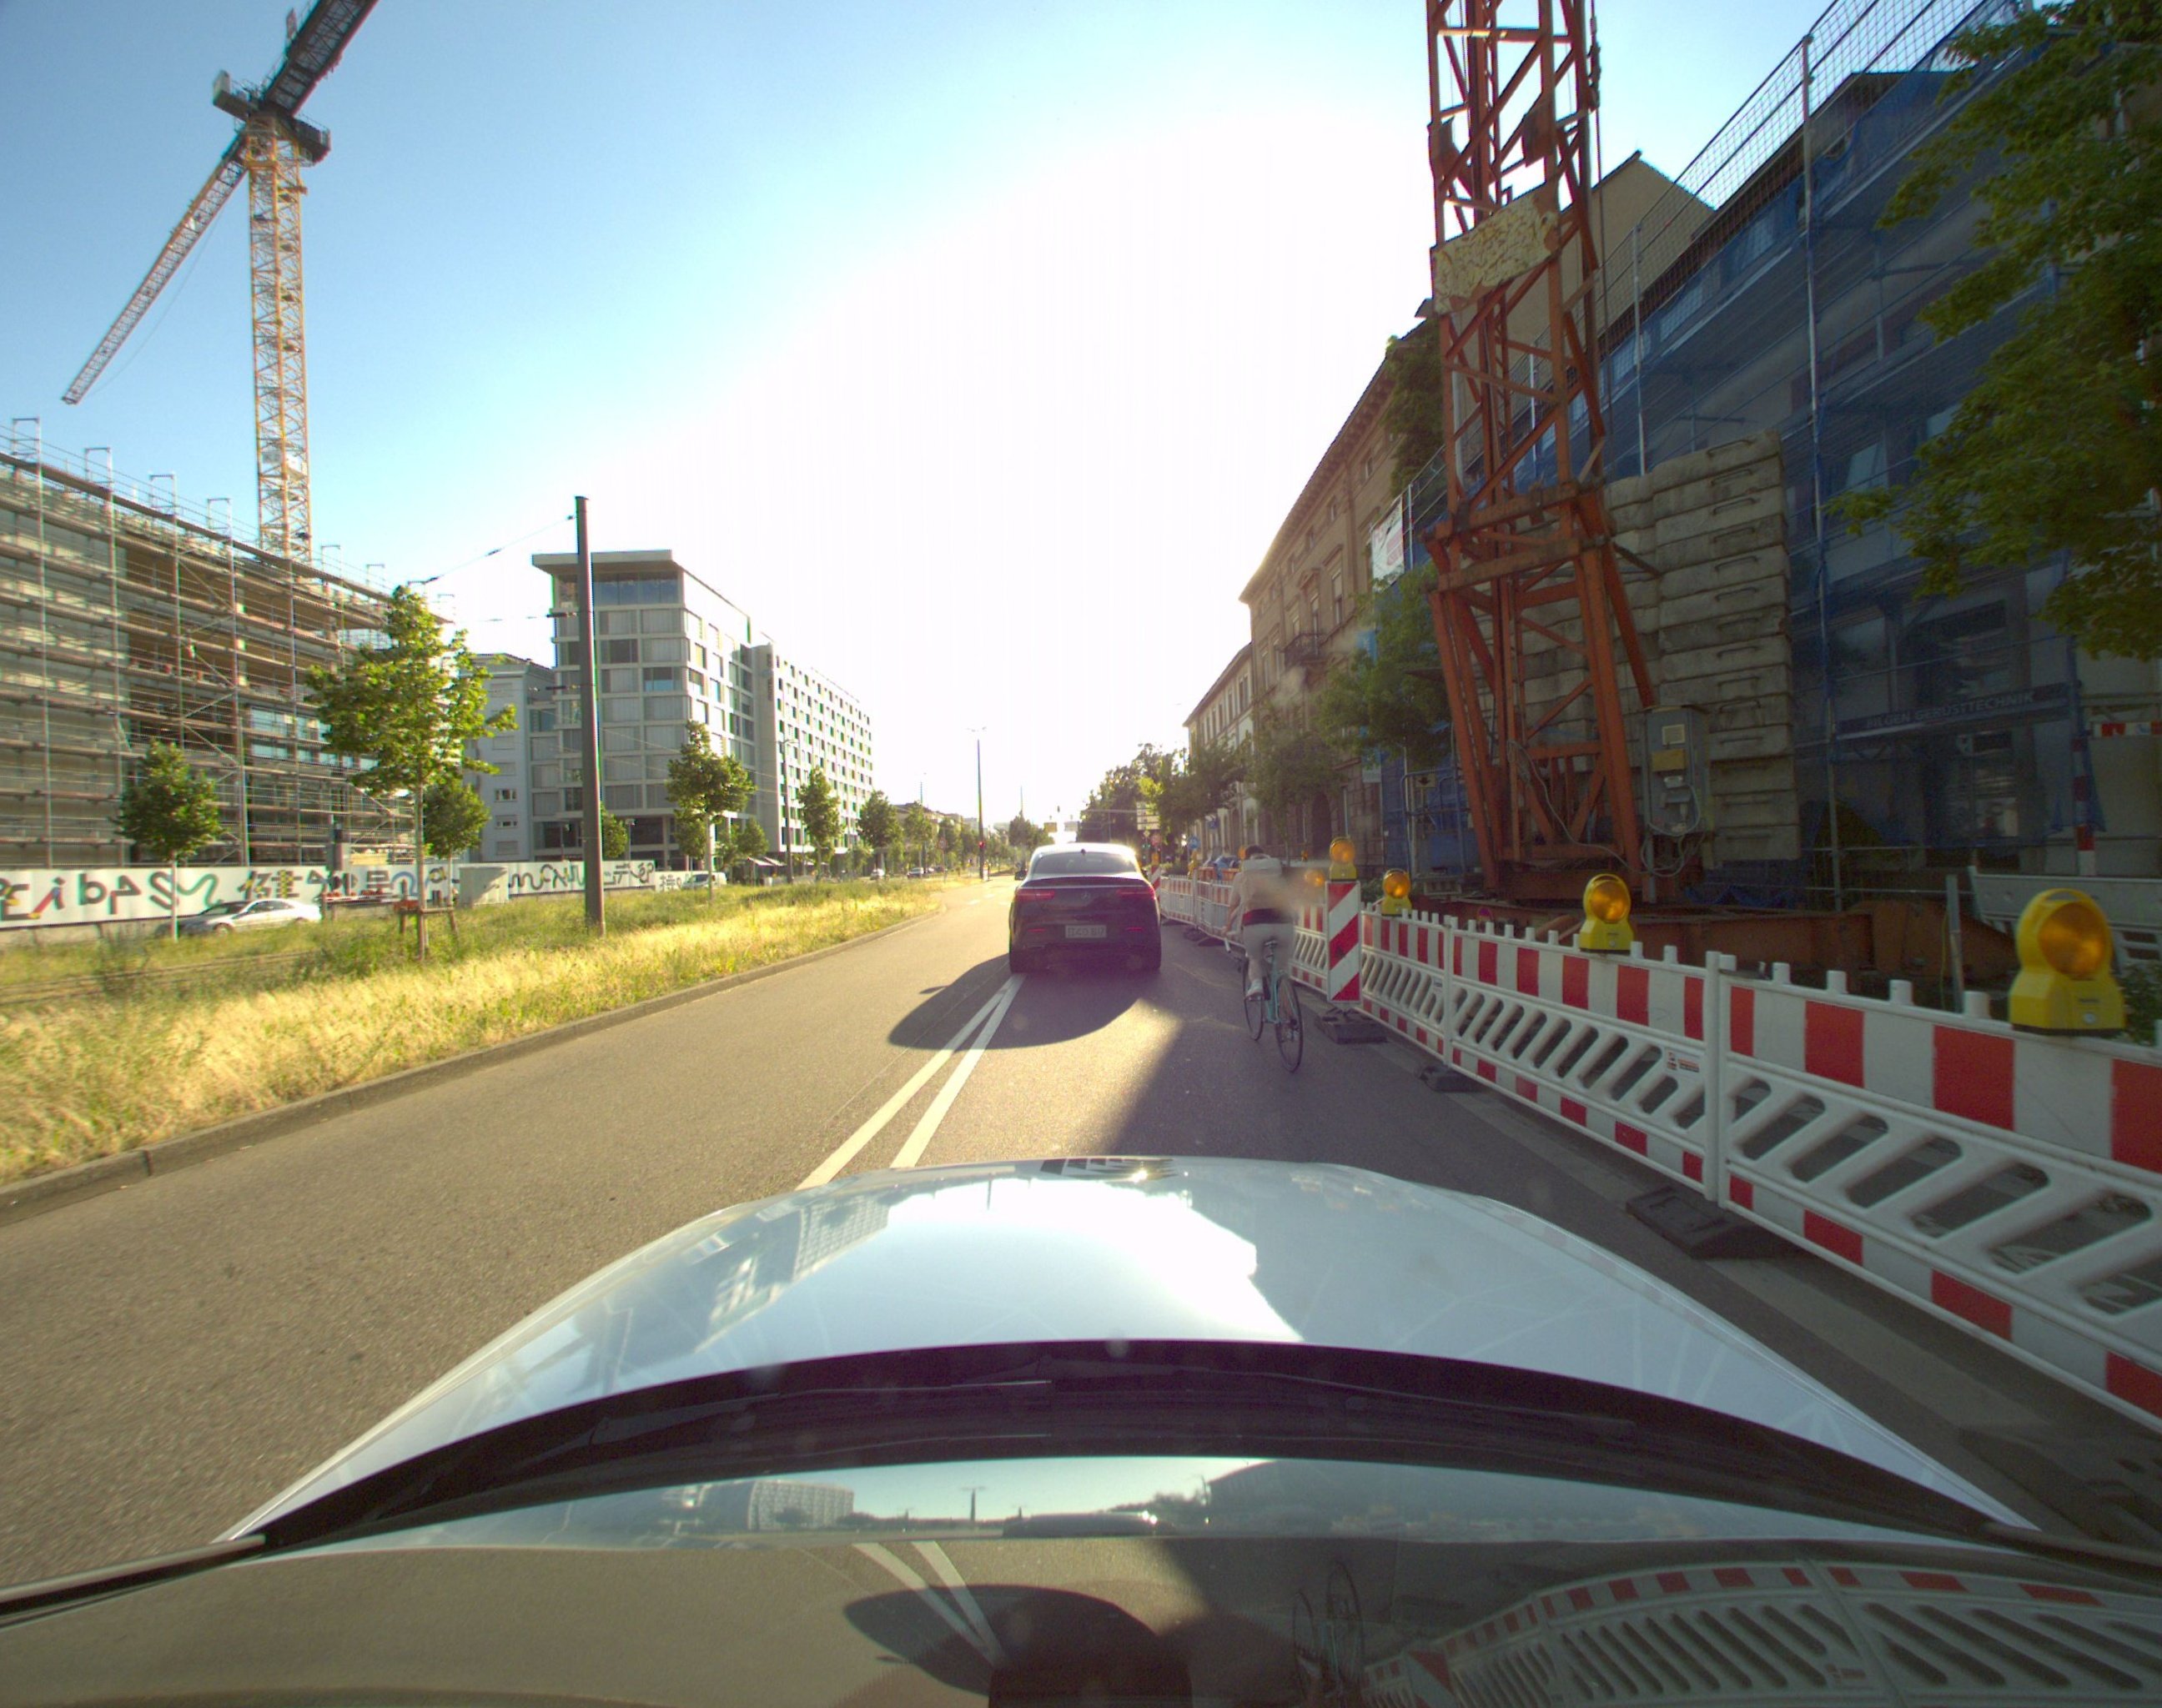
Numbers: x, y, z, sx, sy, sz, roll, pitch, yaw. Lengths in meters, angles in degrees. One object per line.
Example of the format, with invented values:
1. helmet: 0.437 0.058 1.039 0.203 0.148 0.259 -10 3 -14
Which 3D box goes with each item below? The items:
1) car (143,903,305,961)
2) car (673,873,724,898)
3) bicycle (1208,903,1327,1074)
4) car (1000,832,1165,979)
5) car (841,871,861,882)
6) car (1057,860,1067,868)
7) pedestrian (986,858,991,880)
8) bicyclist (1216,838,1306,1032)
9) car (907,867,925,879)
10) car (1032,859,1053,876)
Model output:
1. car: -29.988 2.676 28.659 1.783 1.684 3.639 -1 0 1
2. car: -28.240 2.333 60.288 1.781 1.684 3.644 -1 0 5
3. bicycle: 1.397 0.959 6.367 0.510 1.052 1.725 -1 0 0
4. car: 0.102 0.646 11.974 1.986 1.772 4.002 -1 0 2
5. car: -31.219 3.067 110.558 1.703 1.442 3.582 -1 0 0
6. car: -3.422 1.894 150.281 1.703 1.442 3.582 -1 0 0
7. pedestrian: -7.590 1.217 66.927 0.333 1.763 0.418 -1 -1 0
8. bicyclist: 1.355 0.589 6.219 0.521 1.395 0.614 -1 -1 -1
9. car: -21.736 2.475 107.426 1.703 1.442 3.582 -1 0 0
10. car: -3.446 1.187 73.629 1.703 1.442 3.582 -2 0 0
